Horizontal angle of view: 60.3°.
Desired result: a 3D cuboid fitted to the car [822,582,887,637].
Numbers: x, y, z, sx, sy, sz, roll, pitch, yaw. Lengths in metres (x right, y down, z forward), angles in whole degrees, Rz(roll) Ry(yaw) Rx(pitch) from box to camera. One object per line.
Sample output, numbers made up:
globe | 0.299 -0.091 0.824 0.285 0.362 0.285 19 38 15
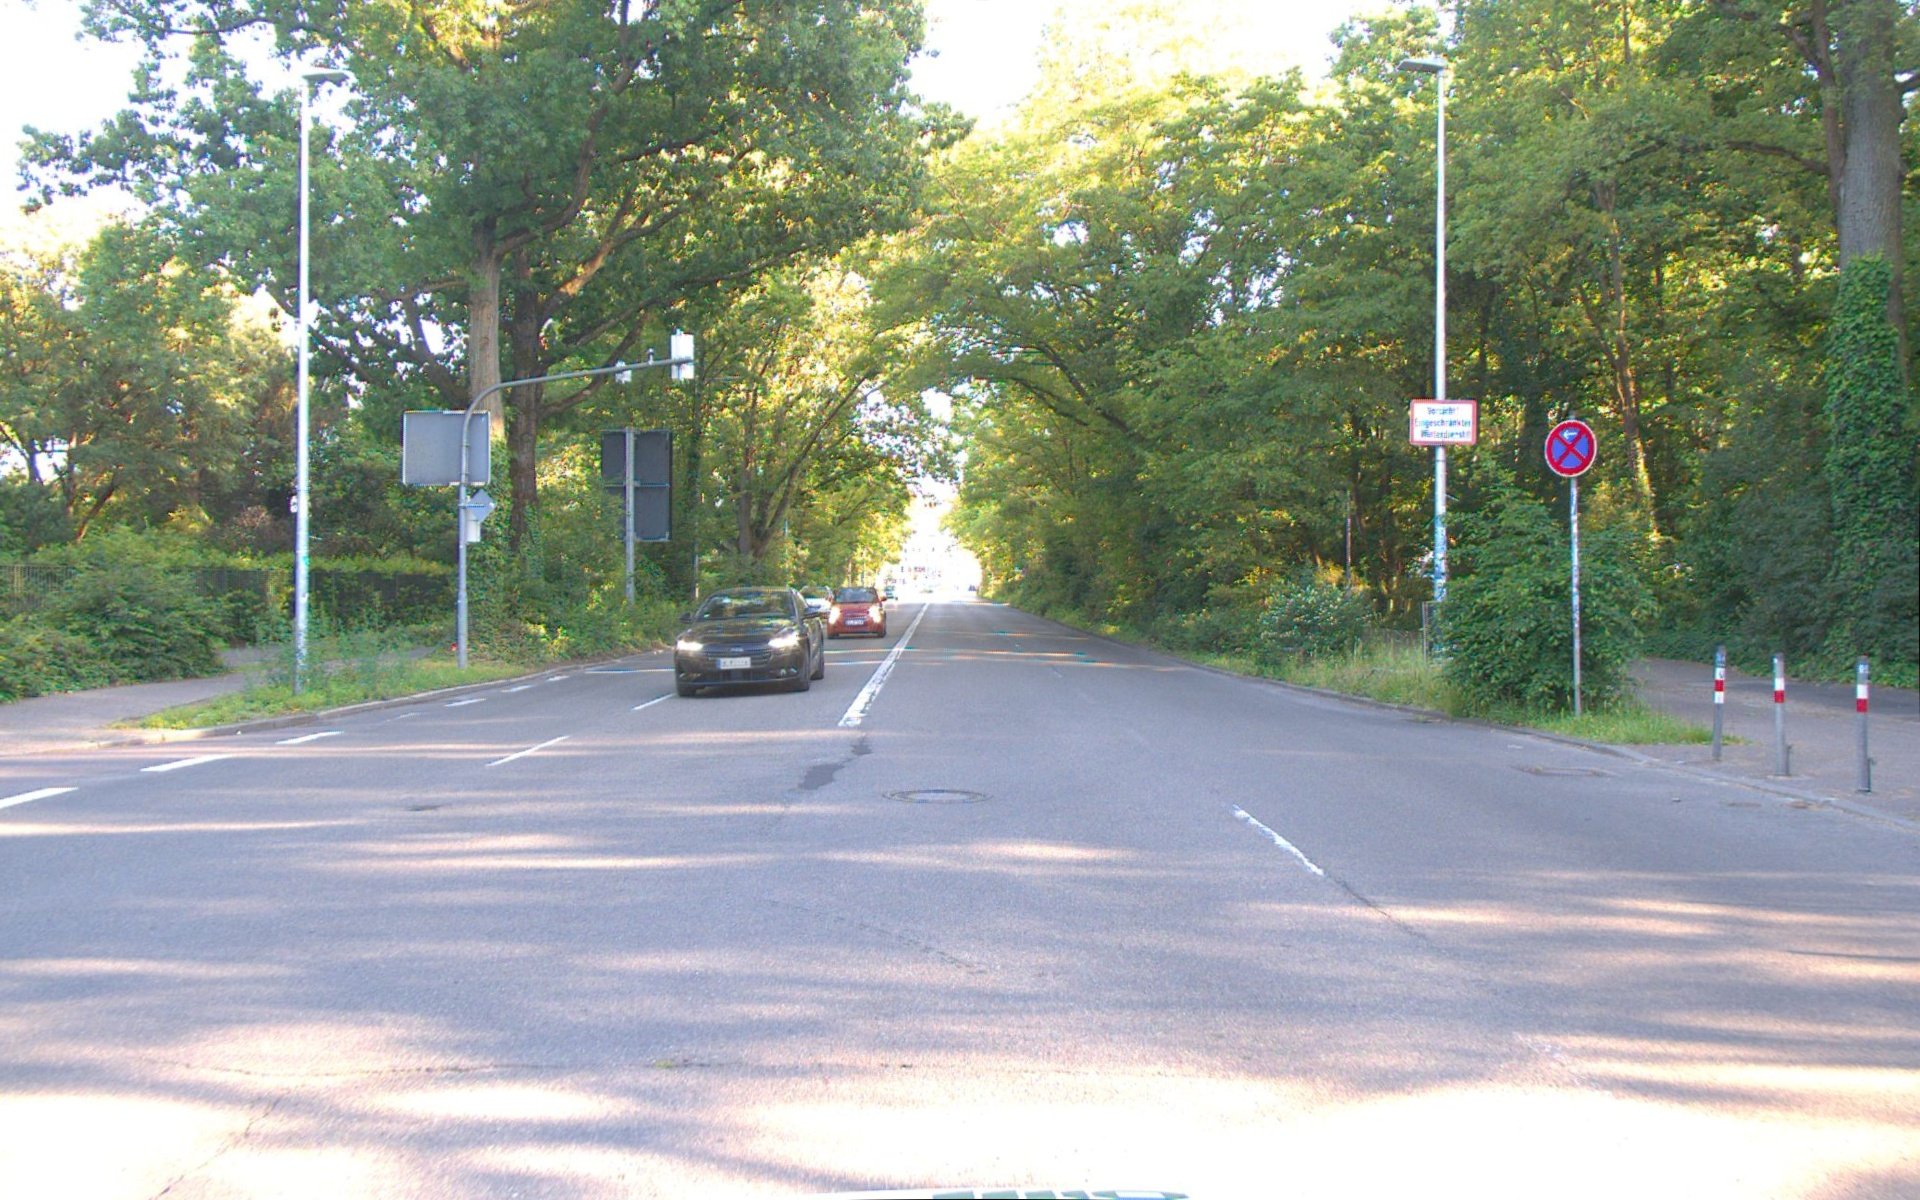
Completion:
car | -3.099 0.262 49.368 1.761 1.533 4.363 -1 0 -2

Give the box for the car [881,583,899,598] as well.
car | -7.079 -0.969 167.052 1.761 1.533 4.363 -1 0 -2

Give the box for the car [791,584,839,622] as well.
car | -6.138 0.114 70.327 1.761 1.533 4.363 -1 0 -2

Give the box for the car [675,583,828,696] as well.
car | -3.030 0.525 24.878 1.849 1.533 4.363 -1 0 -2
